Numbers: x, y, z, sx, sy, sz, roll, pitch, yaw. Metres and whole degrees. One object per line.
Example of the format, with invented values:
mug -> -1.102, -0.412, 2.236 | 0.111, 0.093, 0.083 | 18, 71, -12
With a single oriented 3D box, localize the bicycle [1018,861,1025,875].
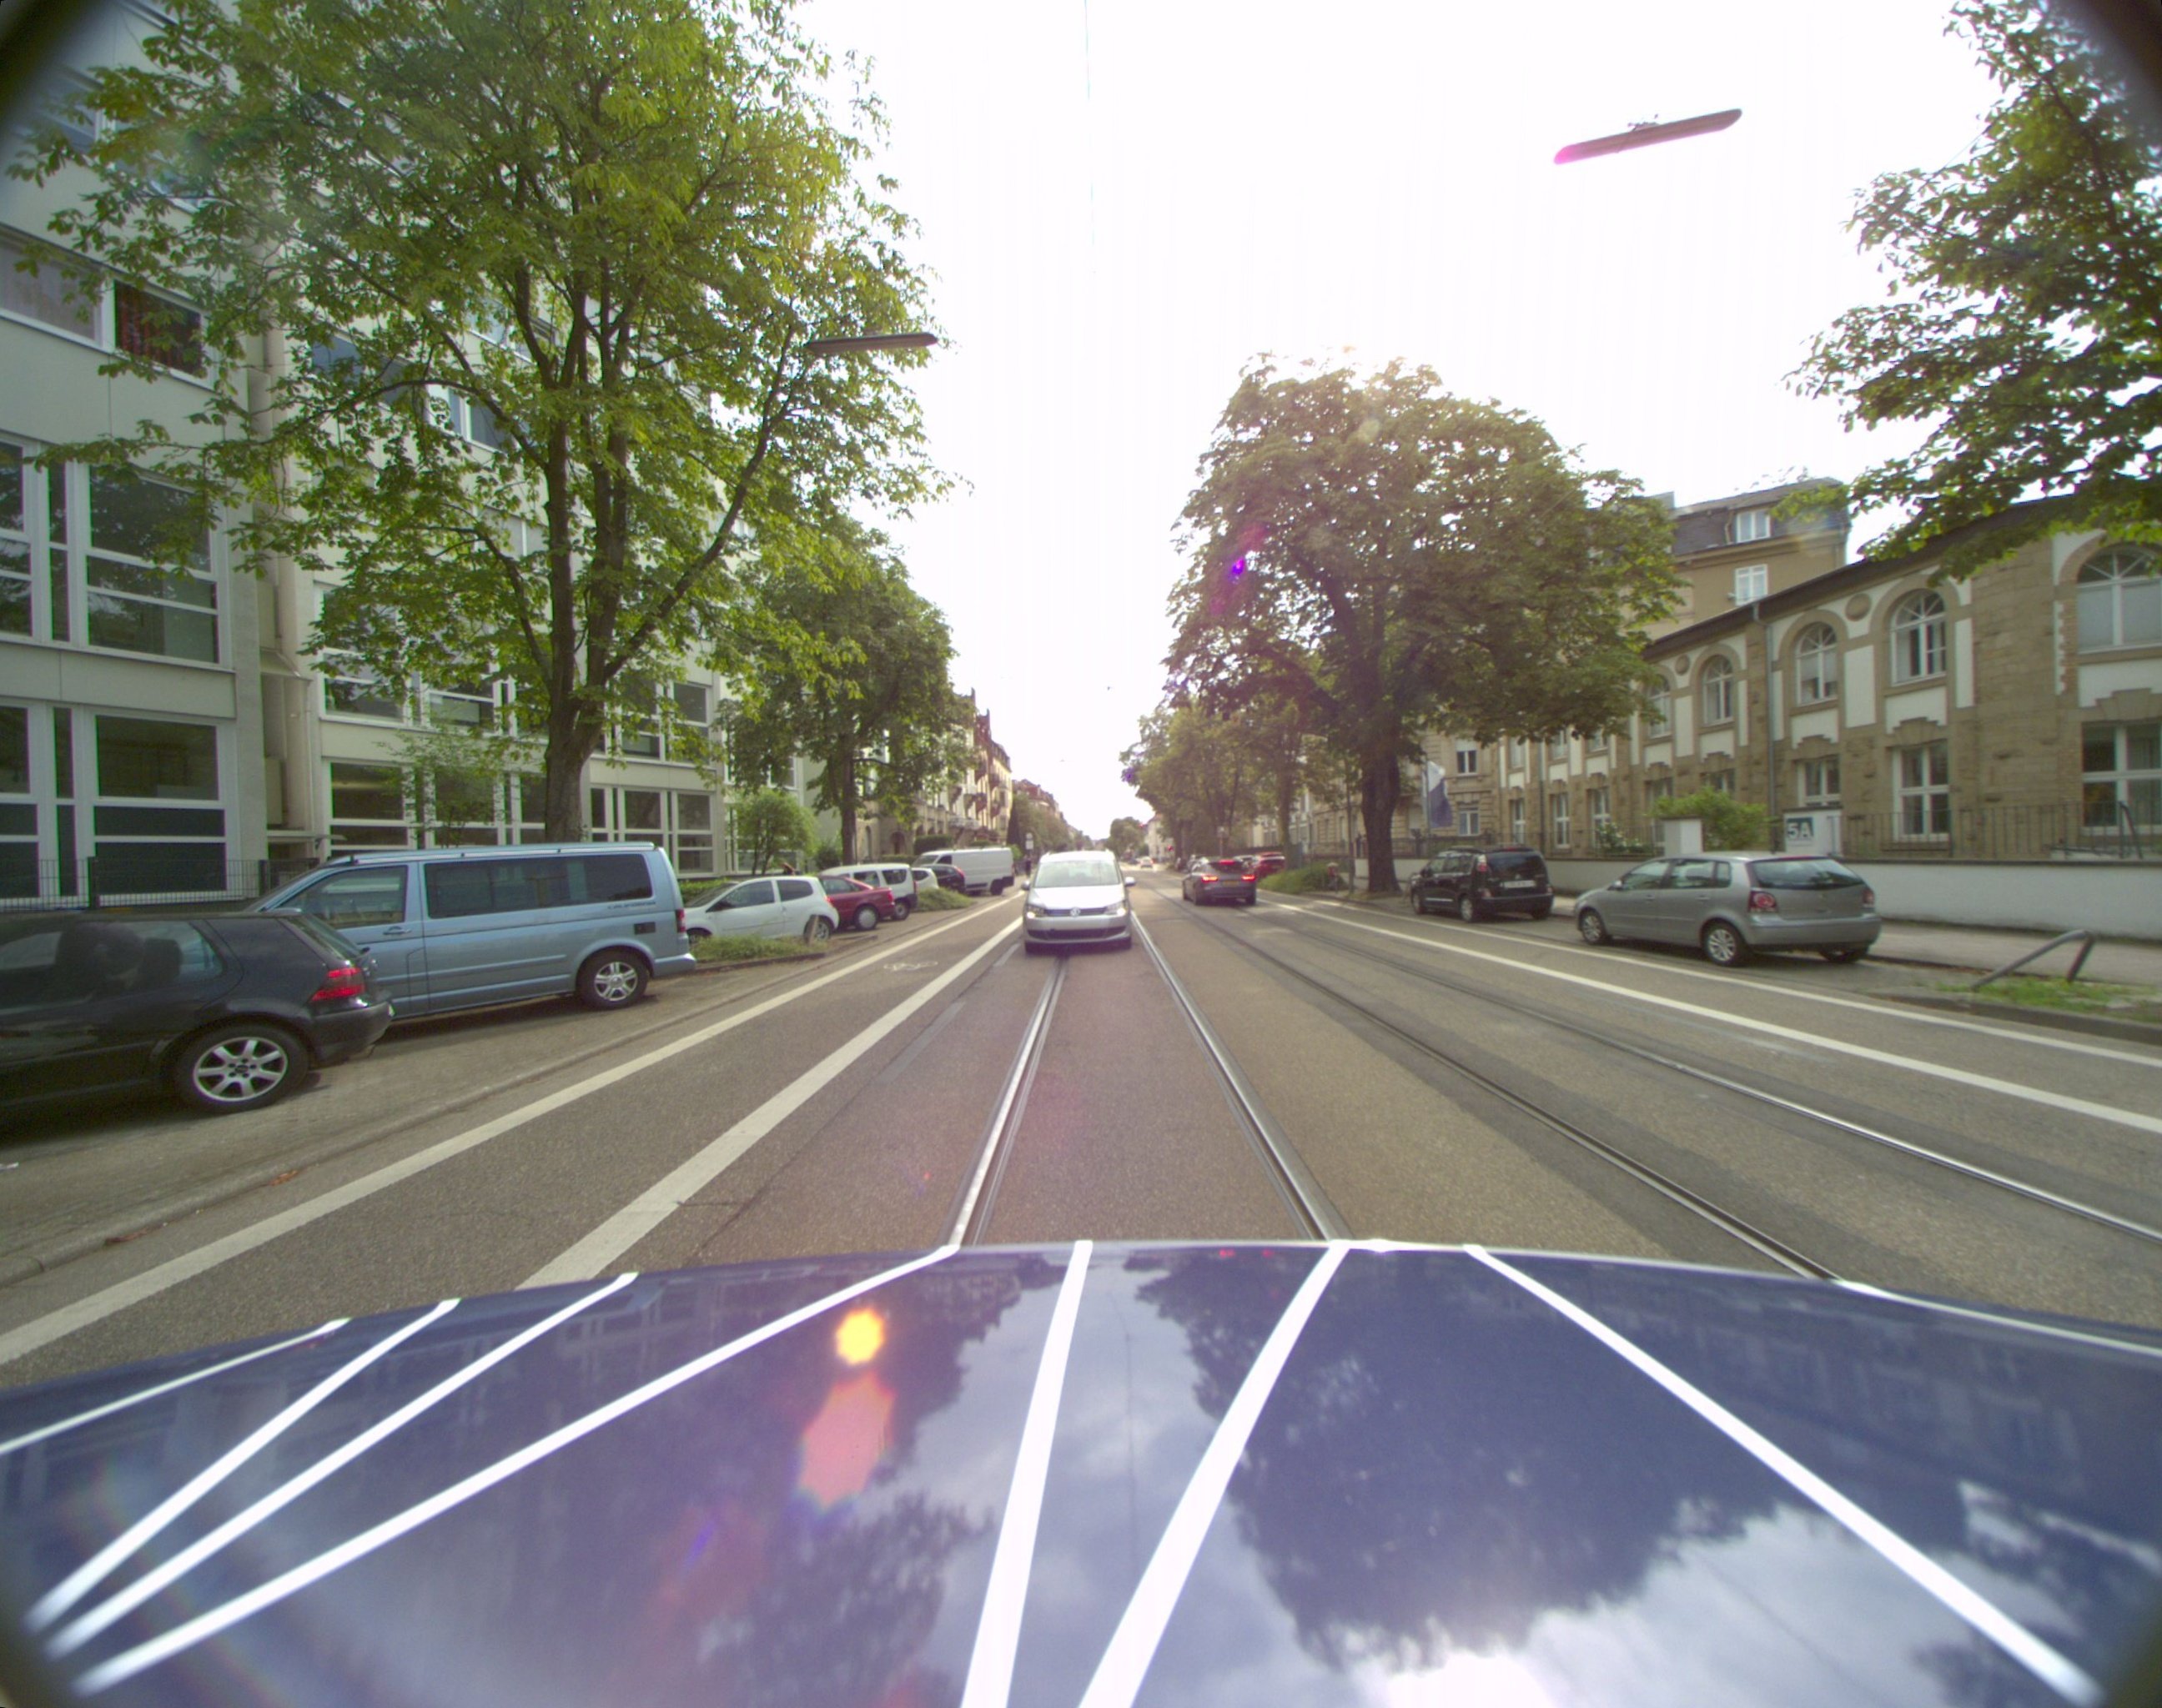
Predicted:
bicycle -> -5.253, 1.213, 66.715 | 0.392, 1.135, 1.921 | 0, 0, 2

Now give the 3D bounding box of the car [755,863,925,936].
car -> -6.598, 1.172, 21.103 | 4.116, 1.658, 1.685 | -3, 1, -44

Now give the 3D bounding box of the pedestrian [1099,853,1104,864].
pedestrian -> 3.150, 0.652, 115.781 | 0.721, 1.651, 0.759 | 2, 0, -2

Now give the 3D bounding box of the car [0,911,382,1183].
car -> -7.289, 1.285, 4.993 | 1.672, 1.451, 3.836 | -2, 1, 45

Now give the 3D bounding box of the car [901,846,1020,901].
car -> -5.604, 0.851, 35.713 | 4.968, 2.277, 2.378 | -3, 1, -41

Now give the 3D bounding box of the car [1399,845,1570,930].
car -> 9.039, 0.677, 17.445 | 1.760, 1.637, 4.052 | -3, 0, 1

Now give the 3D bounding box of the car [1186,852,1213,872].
car -> 10.375, 0.670, 66.892 | 1.714, 1.664, 4.357 | -2, 0, 1

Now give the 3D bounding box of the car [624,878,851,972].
car -> -6.747, 1.300, 15.147 | 3.723, 1.424, 1.685 | -3, 1, -43

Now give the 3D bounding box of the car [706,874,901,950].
car -> -6.553, 1.299, 18.190 | 3.983, 1.424, 1.685 | -3, 1, -41

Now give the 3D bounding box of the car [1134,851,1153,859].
car -> 14.351, 0.254, 173.662 | 3.990, 1.622, 1.681 | -2, 0, 27

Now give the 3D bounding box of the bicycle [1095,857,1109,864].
bicycle -> 3.463, 1.074, 123.908 | 2.196, 1.019, 0.615 | -2, 0, 13

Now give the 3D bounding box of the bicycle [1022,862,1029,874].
bicycle -> -5.080, 1.260, 69.427 | 0.392, 1.096, 1.759 | 0, 0, 2

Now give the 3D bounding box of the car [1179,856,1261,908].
car -> 4.388, 0.825, 24.639 | 1.839, 1.439, 4.553 | -2, 0, 1

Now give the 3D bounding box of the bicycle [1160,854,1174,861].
bicycle -> 14.086, 0.559, 124.678 | 2.198, 1.019, 0.615 | -2, 0, 5

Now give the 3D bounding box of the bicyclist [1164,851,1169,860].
bicyclist -> 14.060, 0.216, 124.695 | 0.773, 1.357, 0.615 | -2, 1, 5

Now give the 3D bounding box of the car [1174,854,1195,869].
car -> 10.709, 0.783, 78.737 | 1.724, 1.416, 4.166 | -4, 0, 3

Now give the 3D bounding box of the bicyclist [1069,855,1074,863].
bicyclist -> -1.546, 0.832, 124.109 | 0.571, 1.366, 0.615 | -2, 1, 12

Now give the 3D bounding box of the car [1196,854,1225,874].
car -> 10.076, 0.766, 59.385 | 1.604, 1.459, 4.079 | -2, 0, 1

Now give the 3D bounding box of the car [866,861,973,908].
car -> -6.599, 1.210, 31.279 | 3.968, 1.639, 1.685 | -3, 1, -43

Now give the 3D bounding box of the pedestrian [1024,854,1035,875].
pedestrian -> -4.138, 0.835, 61.536 | 0.787, 1.723, 0.896 | 0, 0, 1

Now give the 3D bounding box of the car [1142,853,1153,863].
car -> 9.322, 0.595, 106.711 | 1.574, 1.408, 4.002 | 0, 0, 5

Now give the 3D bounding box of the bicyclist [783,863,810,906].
bicyclist -> -10.039, 1.061, 26.801 | 0.649, 1.461, 0.800 | 0, 0, -1

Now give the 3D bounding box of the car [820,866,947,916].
car -> -7.093, 1.293, 27.555 | 4.100, 1.502, 1.685 | -3, 1, -43

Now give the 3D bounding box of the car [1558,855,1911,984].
car -> 8.870, 0.777, 10.837 | 1.697, 1.419, 3.868 | -3, 0, 1

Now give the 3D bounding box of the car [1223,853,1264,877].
car -> 10.399, 0.675, 49.006 | 1.725, 1.415, 4.023 | -4, 0, 0

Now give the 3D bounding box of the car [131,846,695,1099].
car -> -6.947, 1.001, 8.482 | 4.284, 2.003, 1.826 | -3, 1, -43

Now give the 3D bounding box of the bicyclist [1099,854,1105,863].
bicyclist -> 3.448, 0.660, 123.916 | 0.710, 1.421, 0.615 | -2, 1, 13

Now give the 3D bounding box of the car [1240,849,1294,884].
car -> 9.788, 0.626, 40.303 | 1.725, 1.645, 4.542 | -4, 0, 0

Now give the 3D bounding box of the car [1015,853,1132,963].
car -> -0.038, 0.864, 14.224 | 1.767, 1.661, 4.330 | -3, 0, 2

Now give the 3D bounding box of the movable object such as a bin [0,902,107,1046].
movable object such as a bin -> -12.167, 1.341, 8.372 | 1.072, 1.499, 1.323 | -3, 0, 2
